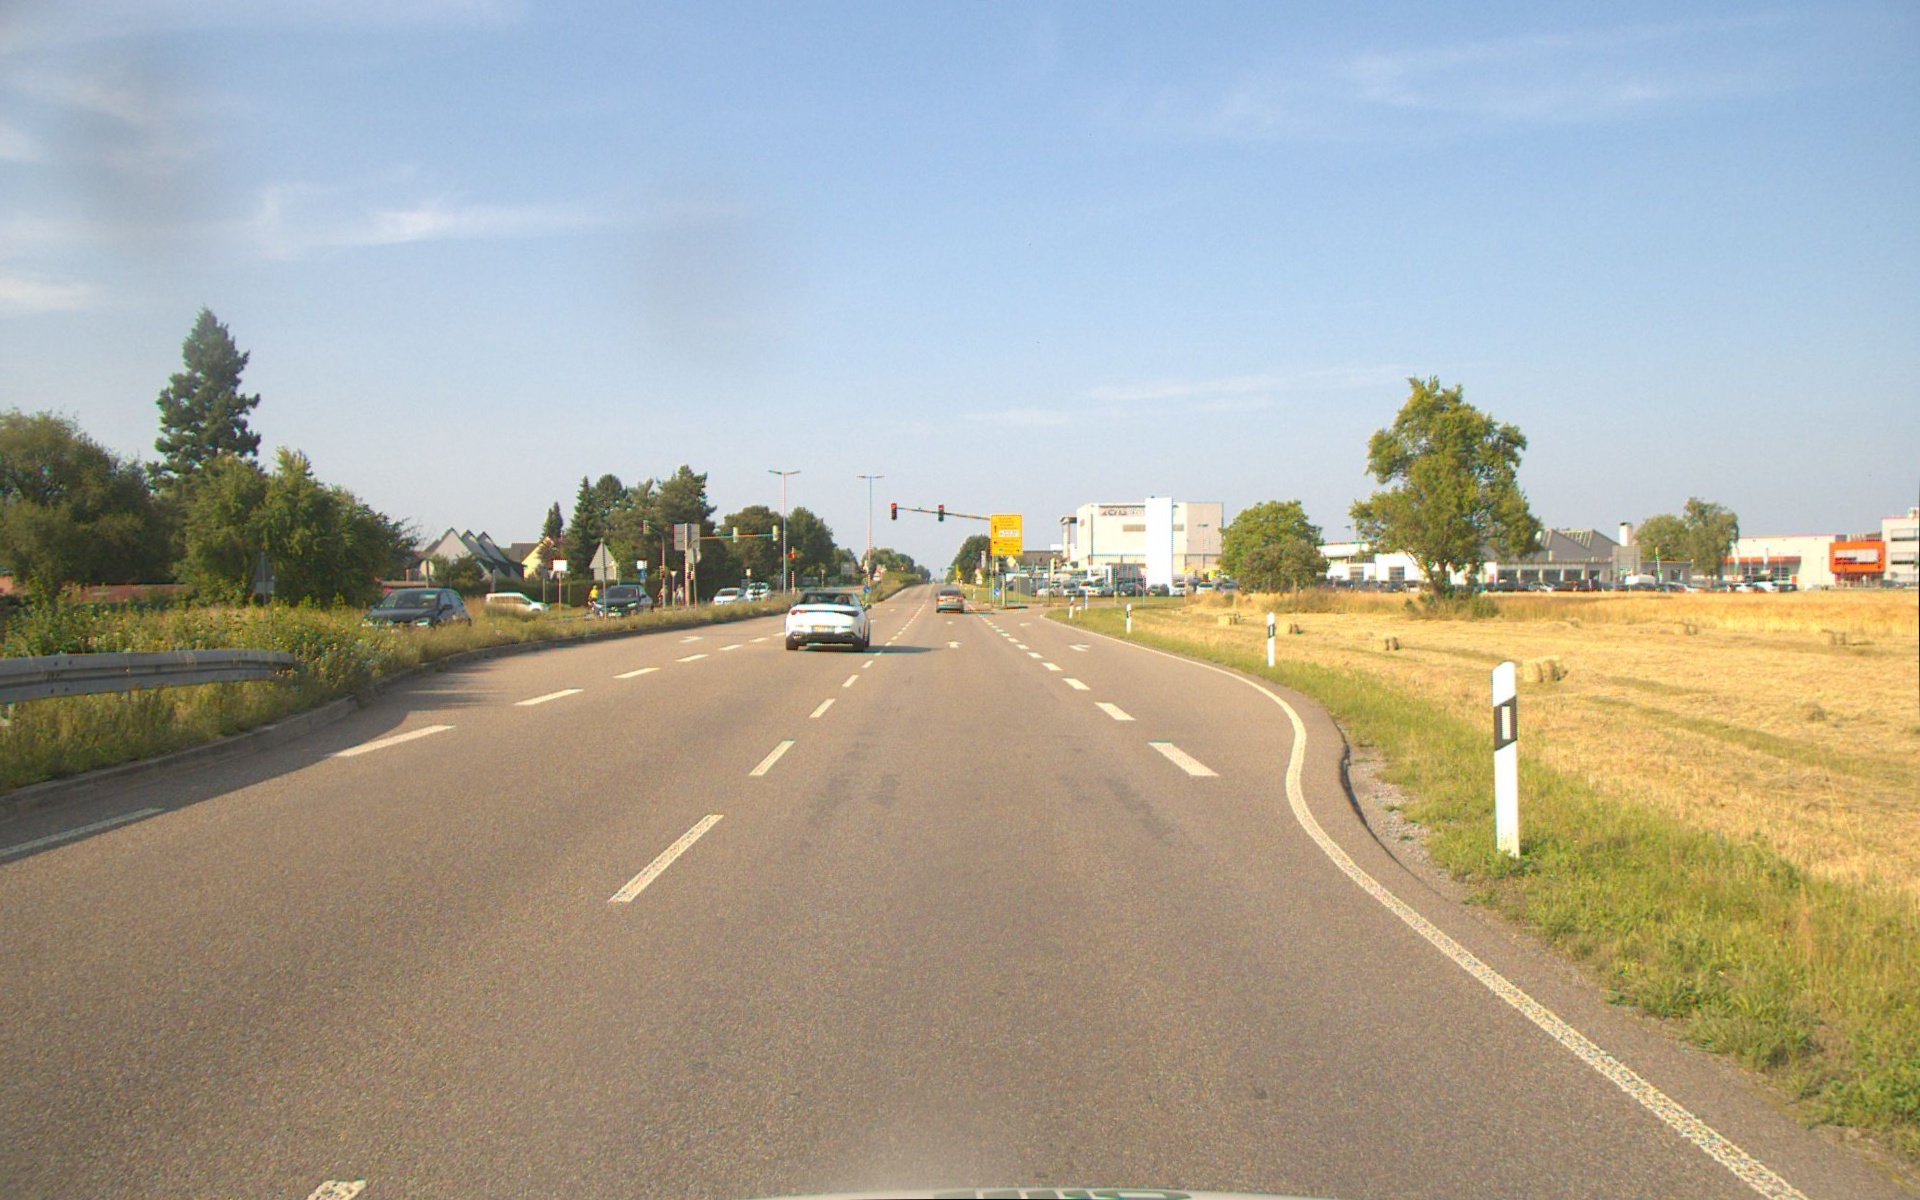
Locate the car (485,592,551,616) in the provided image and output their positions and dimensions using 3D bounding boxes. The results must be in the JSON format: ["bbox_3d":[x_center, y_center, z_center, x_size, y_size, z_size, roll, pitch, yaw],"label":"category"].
[{"bbox_3d":[-29.988,0.288,112.257,4.106,1.548,1.996,1,1,-9],"label":"car"}]

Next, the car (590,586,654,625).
[{"bbox_3d":[-13.310,0.201,65.342,1.693,1.432,4.000,1,1,0],"label":"car"}]

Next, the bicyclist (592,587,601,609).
[{"bbox_3d":[-22.981,-0.102,104.499,0.446,1.375,0.551,-1,1,-4],"label":"bicyclist"}]

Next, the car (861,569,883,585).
[{"bbox_3d":[-8.453,-2.223,159.608,1.908,1.432,4.000,1,1,0],"label":"car"}]

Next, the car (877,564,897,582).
[{"bbox_3d":[-7.680,-2.819,173.885,1.908,1.803,4.000,1,1,0],"label":"car"}]

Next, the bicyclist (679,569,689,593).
[{"bbox_3d":[-23.299,-1.620,139.697,0.774,2.049,0.690,1,1,-6],"label":"bicyclist"}]

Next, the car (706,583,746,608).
[{"bbox_3d":[-14.236,-0.269,100.909,1.953,1.422,3.999,1,1,-1],"label":"car"}]

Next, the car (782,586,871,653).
[{"bbox_3d":[-3.125,0.433,39.365,1.871,1.447,3.999,1,1,-1],"label":"car"}]

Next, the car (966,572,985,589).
[{"bbox_3d":[1.613,-2.087,174.110,1.952,1.787,4.001,1,1,0],"label":"car"}]

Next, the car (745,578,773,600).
[{"bbox_3d":[-17.189,-0.968,141.672,1.908,1.831,4.000,1,1,0],"label":"car"}]

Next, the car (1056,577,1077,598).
[{"bbox_3d":[10.886,-1.288,169.145,1.952,2.049,4.001,1,1,0],"label":"car"}]

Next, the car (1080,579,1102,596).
[{"bbox_3d":[13.427,-1.333,169.237,1.952,1.673,4.001,1,1,0],"label":"car"}]

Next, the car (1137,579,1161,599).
[{"bbox_3d":[19.441,-1.143,170.376,1.952,2.049,4.001,1,1,0],"label":"car"}]

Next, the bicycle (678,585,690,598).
[{"bbox_3d":[-23.334,-0.721,139.859,0.797,1.053,1.947,1,1,-5],"label":"bicycle"}]

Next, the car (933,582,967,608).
[{"bbox_3d":[-0.647,-0.315,100.294,1.953,1.512,3.999,1,1,-1],"label":"car"}]

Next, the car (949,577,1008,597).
[{"bbox_3d":[1.377,-0.943,123.779,3.929,1.432,1.942,1,1,-21],"label":"car"}]

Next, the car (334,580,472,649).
[{"bbox_3d":[-13.288,0.301,39.720,1.953,1.512,4.226,1,1,-1],"label":"car"}]

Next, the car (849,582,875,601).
[{"bbox_3d":[-7.957,-0.699,134.736,1.908,1.432,4.000,1,1,0],"label":"car"}]
